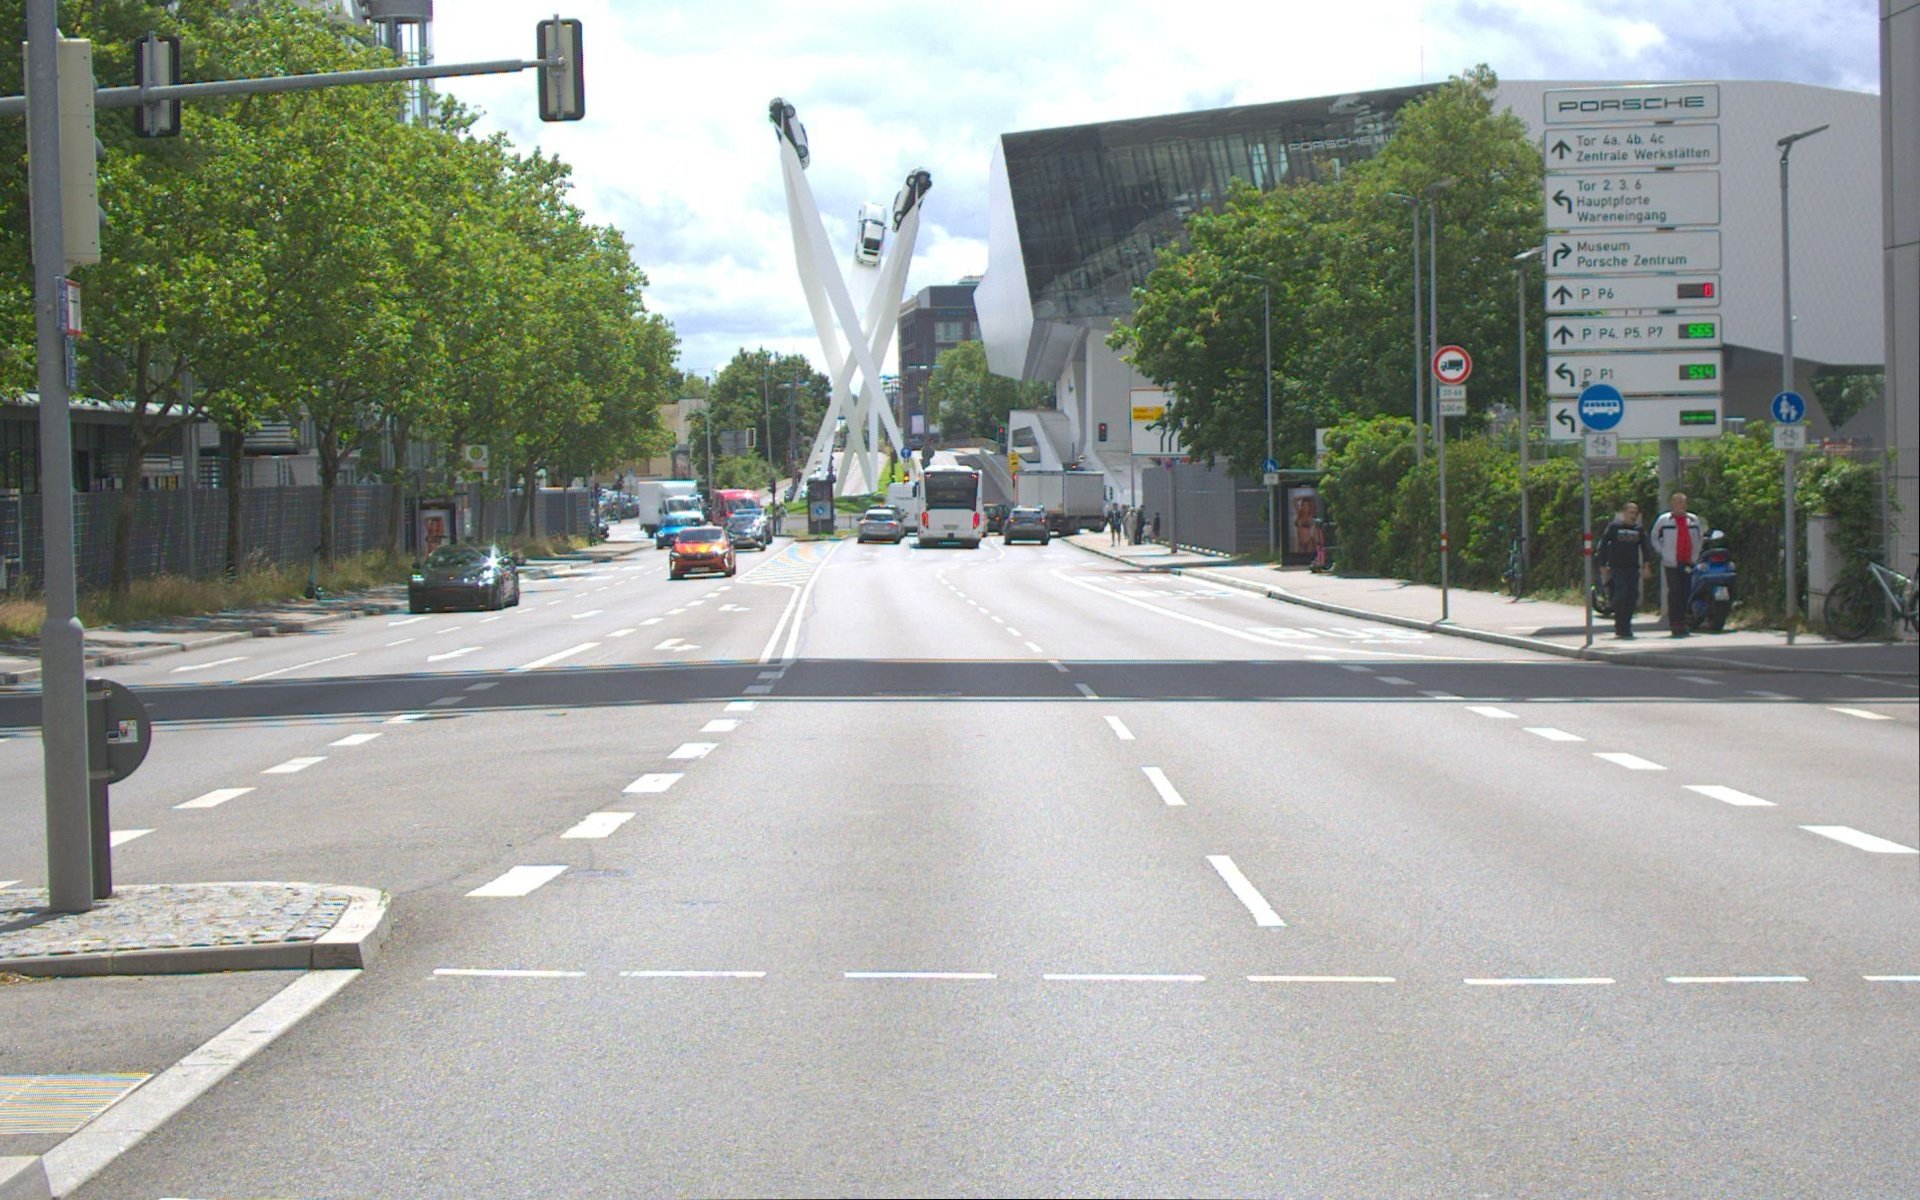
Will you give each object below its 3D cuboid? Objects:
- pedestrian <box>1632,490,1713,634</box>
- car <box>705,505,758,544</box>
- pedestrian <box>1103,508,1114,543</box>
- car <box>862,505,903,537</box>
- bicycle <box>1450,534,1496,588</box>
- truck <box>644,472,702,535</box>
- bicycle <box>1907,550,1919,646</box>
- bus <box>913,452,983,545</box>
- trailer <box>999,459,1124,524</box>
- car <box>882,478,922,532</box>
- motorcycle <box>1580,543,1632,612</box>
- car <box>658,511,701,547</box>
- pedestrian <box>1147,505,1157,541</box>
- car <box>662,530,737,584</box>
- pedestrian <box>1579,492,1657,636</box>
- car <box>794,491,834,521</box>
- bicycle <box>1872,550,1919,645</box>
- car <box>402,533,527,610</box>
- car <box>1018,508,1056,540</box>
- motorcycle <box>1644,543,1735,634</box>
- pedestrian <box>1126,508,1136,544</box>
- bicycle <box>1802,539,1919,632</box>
[{"bbox_3d":[9.099,-0.484,43.914,0.691,1.787,0.712,-3,1,-16],"label":"pedestrian"},{"bbox_3d":[-9.063,-3.001,136.446,1.769,1.415,3.701,-3,1,0],"label":"car"},{"bbox_3d":[5.959,-2.981,137.945,0.386,1.416,0.423,1,0,0],"label":"pedestrian"},{"bbox_3d":[-3.337,-3.420,148.426,1.557,1.269,3.701,-3,1,1],"label":"car"},{"bbox_3d":[9.732,-0.740,65.261,0.418,1.019,1.913,1,1,-5],"label":"bicycle"},{"bbox_3d":[-15.985,-5.354,191.845,2.591,3.312,7.079,1,1,0],"label":"truck"},{"bbox_3d":[11.847,-0.006,38.779,2.191,1.083,0.476,1,1,35],"label":"bicycle"},{"bbox_3d":[-0.460,-4.149,142.301,2.787,3.673,6.943,1,1,0],"label":"bus"},{"bbox_3d":[5.169,-5.404,172.114,3.322,2.984,10.366,1,1,19],"label":"trailer"},{"bbox_3d":[-2.910,-4.719,171.361,1.843,2.614,4.000,1,1,-2],"label":"car"},{"bbox_3d":[9.759,-0.342,52.003,0.457,1.019,1.912,1,1,1],"label":"motorcycle"},{"bbox_3d":[-12.640,-3.201,155.068,1.797,1.568,4.001,0,1,-2],"label":"car"},{"bbox_3d":[7.744,-3.109,138.716,0.386,1.416,0.423,1,0,0],"label":"pedestrian"},{"bbox_3d":[-7.300,-1.223,96.674,1.769,1.415,3.701,-3,1,0],"label":"car"},{"bbox_3d":[8.399,-0.459,43.891,0.641,1.787,0.712,-3,1,-16],"label":"pedestrian"},{"bbox_3d":[-6.593,-4.232,155.627,1.557,1.269,3.701,-3,1,0],"label":"car"},{"bbox_3d":[11.656,-0.016,39.536,2.222,1.083,0.476,1,1,35],"label":"bicycle"},{"bbox_3d":[-10.597,-0.637,73.774,1.917,1.483,4.772,-3,1,0],"label":"car"},{"bbox_3d":[3.260,-3.235,146.218,1.557,1.269,3.701,-3,1,1],"label":"car"},{"bbox_3d":[9.540,-0.163,45.020,0.418,1.162,1.957,1,1,-11],"label":"motorcycle"},{"bbox_3d":[6.833,-2.942,137.337,0.386,1.416,0.423,1,0,0],"label":"pedestrian"},{"bbox_3d":[11.165,-0.173,40.866,2.222,1.083,0.476,1,1,35],"label":"bicycle"}]
